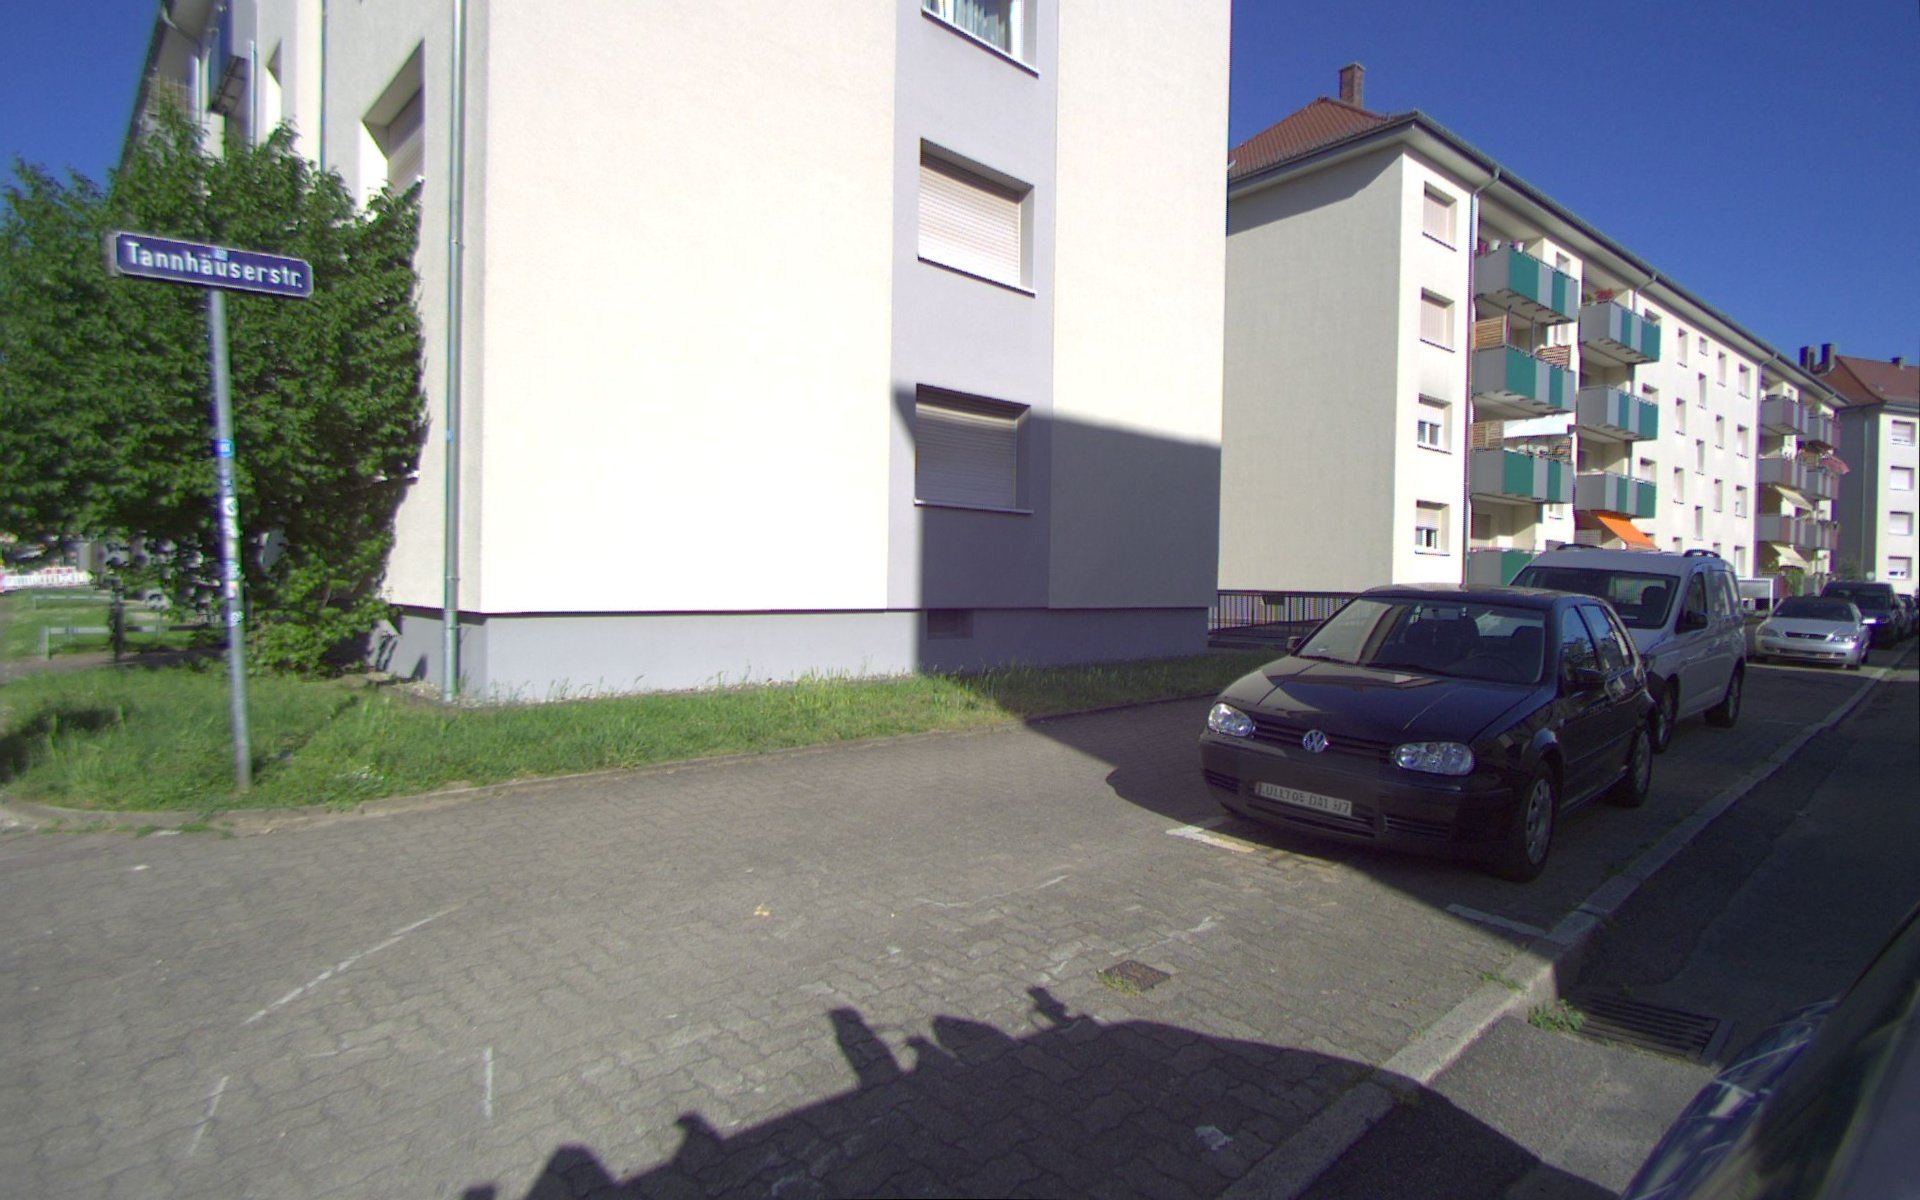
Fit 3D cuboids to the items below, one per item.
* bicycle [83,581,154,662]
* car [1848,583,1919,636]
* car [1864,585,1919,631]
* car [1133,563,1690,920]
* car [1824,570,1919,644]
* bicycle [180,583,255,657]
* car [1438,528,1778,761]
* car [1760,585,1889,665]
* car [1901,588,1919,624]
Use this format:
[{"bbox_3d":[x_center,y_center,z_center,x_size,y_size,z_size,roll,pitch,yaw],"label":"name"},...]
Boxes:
[{"bbox_3d":[-11.693,0.261,14.040,2.276,1.024,0.479,2,2,44],"label":"bicycle"},{"bbox_3d":[29.270,0.259,31.731,3.793,1.477,1.643,-1,3,-42],"label":"car"},{"bbox_3d":[33.031,0.238,35.360,3.793,1.466,1.667,-1,3,-42],"label":"car"},{"bbox_3d":[3.014,0.554,6.309,3.983,1.432,1.800,-1,4,-45],"label":"car"},{"bbox_3d":[25.717,0.129,28.403,4.839,1.862,1.761,-1,3,-44],"label":"car"},{"bbox_3d":[-10.840,0.252,14.753,2.276,0.972,0.479,2,2,44],"label":"bicycle"},{"bbox_3d":[6.807,0.296,10.420,4.462,1.868,1.801,-1,4,-43],"label":"car"},{"bbox_3d":[18.221,0.449,21.257,1.743,1.424,4.245,4,3,44],"label":"car"},{"bbox_3d":[39.829,0.260,41.090,3.788,1.436,1.679,0,3,-37],"label":"car"}]
